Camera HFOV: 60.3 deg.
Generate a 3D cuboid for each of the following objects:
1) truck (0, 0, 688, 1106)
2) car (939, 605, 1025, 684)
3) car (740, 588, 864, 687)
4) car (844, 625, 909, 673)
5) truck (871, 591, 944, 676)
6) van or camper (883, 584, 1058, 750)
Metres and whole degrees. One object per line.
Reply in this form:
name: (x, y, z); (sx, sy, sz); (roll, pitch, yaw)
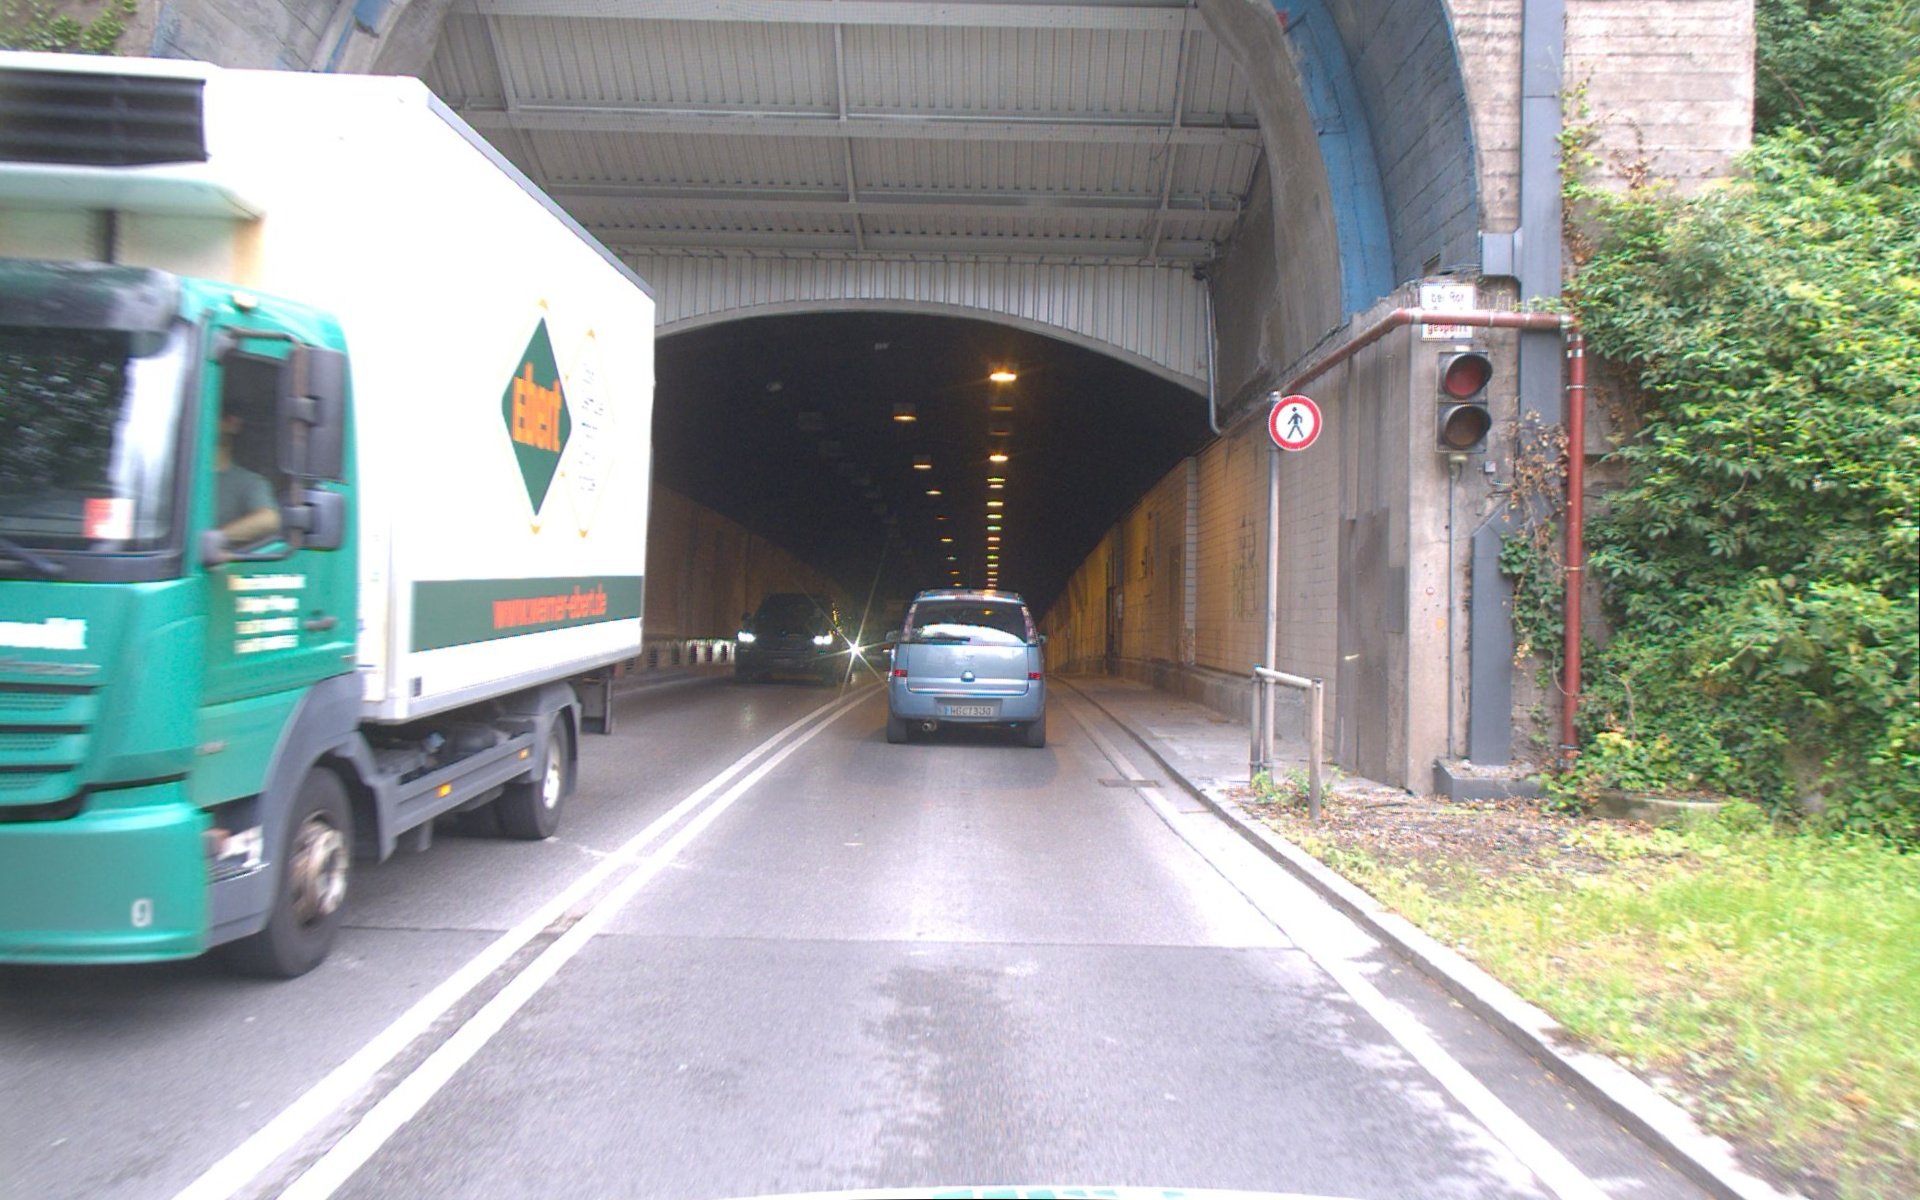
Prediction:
truck: (-3.390, -0.377, 8.690); (2.621, 3.731, 7.517); (1, 0, 0)
car: (0.572, 1.018, 39.872); (1.952, 1.682, 4.002); (0, 1, 2)
car: (-2.894, 0.679, 31.144); (1.840, 1.705, 4.377); (1, -1, 0)
car: (-2.754, 1.651, 55.586); (1.854, 1.495, 4.160); (2, -2, 1)
truck: (-2.440, 1.711, 79.548); (2.754, 3.782, 7.547); (1, -3, 3)
van or camper: (0.096, 0.671, 18.241); (1.700, 1.605, 3.645); (1, 0, 0)
